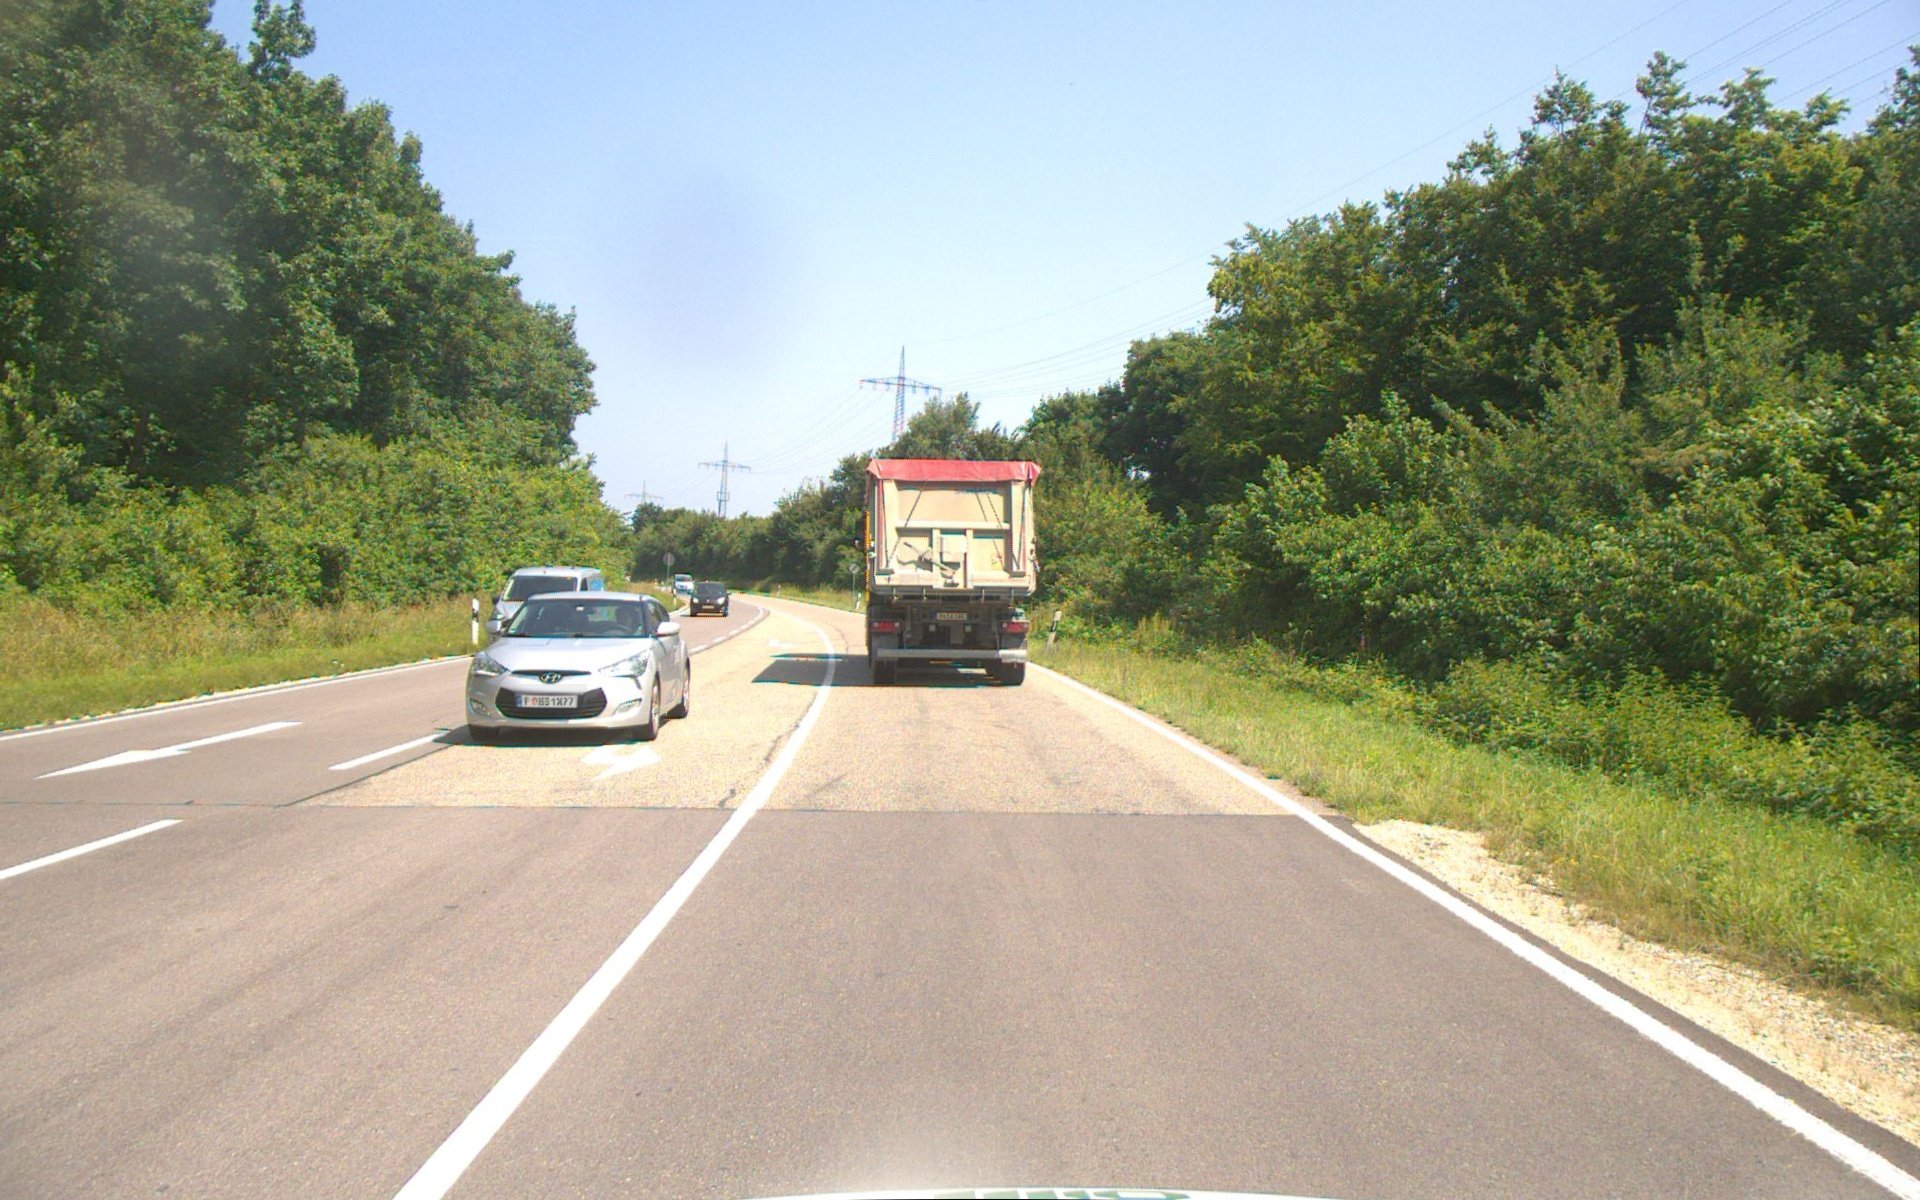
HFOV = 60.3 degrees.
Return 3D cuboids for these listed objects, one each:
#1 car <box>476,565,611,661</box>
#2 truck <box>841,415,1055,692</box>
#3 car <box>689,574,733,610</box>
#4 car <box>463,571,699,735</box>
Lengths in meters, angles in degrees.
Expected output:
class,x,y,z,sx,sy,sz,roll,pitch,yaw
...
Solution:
class,x,y,z,sx,sy,sz,roll,pitch,yaw
car,-8.489,0.213,34.090,1.806,1.810,4.890,1,1,-4
truck,-0.600,-0.759,30.363,2.837,4.031,11.919,1,1,-5
car,-10.824,-0.368,72.014,1.582,1.528,3.550,1,0,-3
car,-3.777,0.450,17.135,1.674,1.444,4.096,1,1,-3
